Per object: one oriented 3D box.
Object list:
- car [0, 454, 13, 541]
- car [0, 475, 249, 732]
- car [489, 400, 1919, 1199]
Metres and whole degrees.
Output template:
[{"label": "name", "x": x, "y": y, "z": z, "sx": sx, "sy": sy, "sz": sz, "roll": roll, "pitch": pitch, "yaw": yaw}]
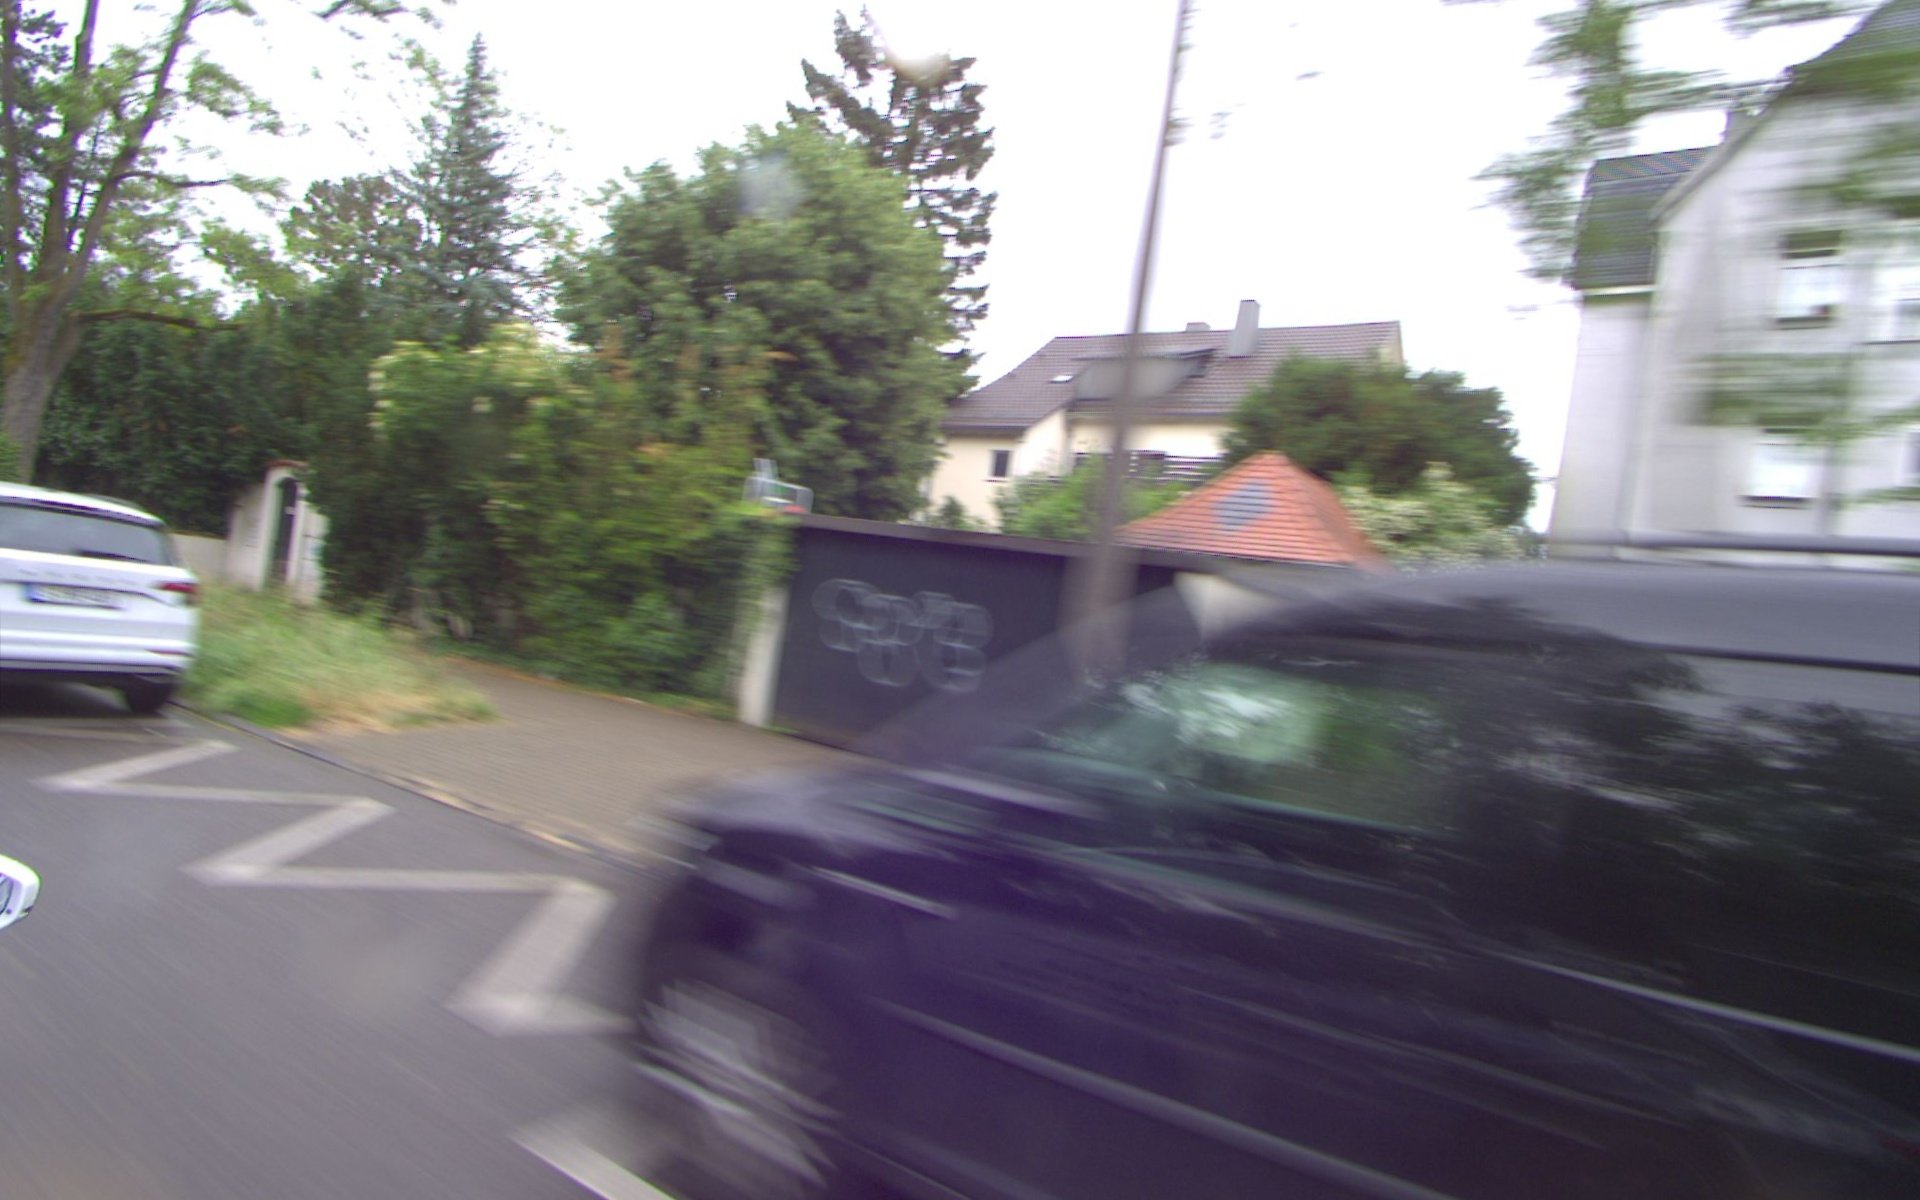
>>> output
[{"label": "car", "x": -12.855, "y": -0.921, "z": 11.241, "sx": 4.807, "sy": 2.036, "sz": 1.998, "roll": 8, "pitch": -2, "yaw": 32}, {"label": "car", "x": -7.688, "y": -0.162, "z": 7.856, "sx": 4.214, "sy": 1.631, "sz": 1.809, "roll": 8, "pitch": -2, "yaw": 31}, {"label": "car", "x": 1.007, "y": 0.693, "z": 2.469, "sx": 4.159, "sy": 1.868, "sz": 1.734, "roll": 8, "pitch": -2, "yaw": 32}]
